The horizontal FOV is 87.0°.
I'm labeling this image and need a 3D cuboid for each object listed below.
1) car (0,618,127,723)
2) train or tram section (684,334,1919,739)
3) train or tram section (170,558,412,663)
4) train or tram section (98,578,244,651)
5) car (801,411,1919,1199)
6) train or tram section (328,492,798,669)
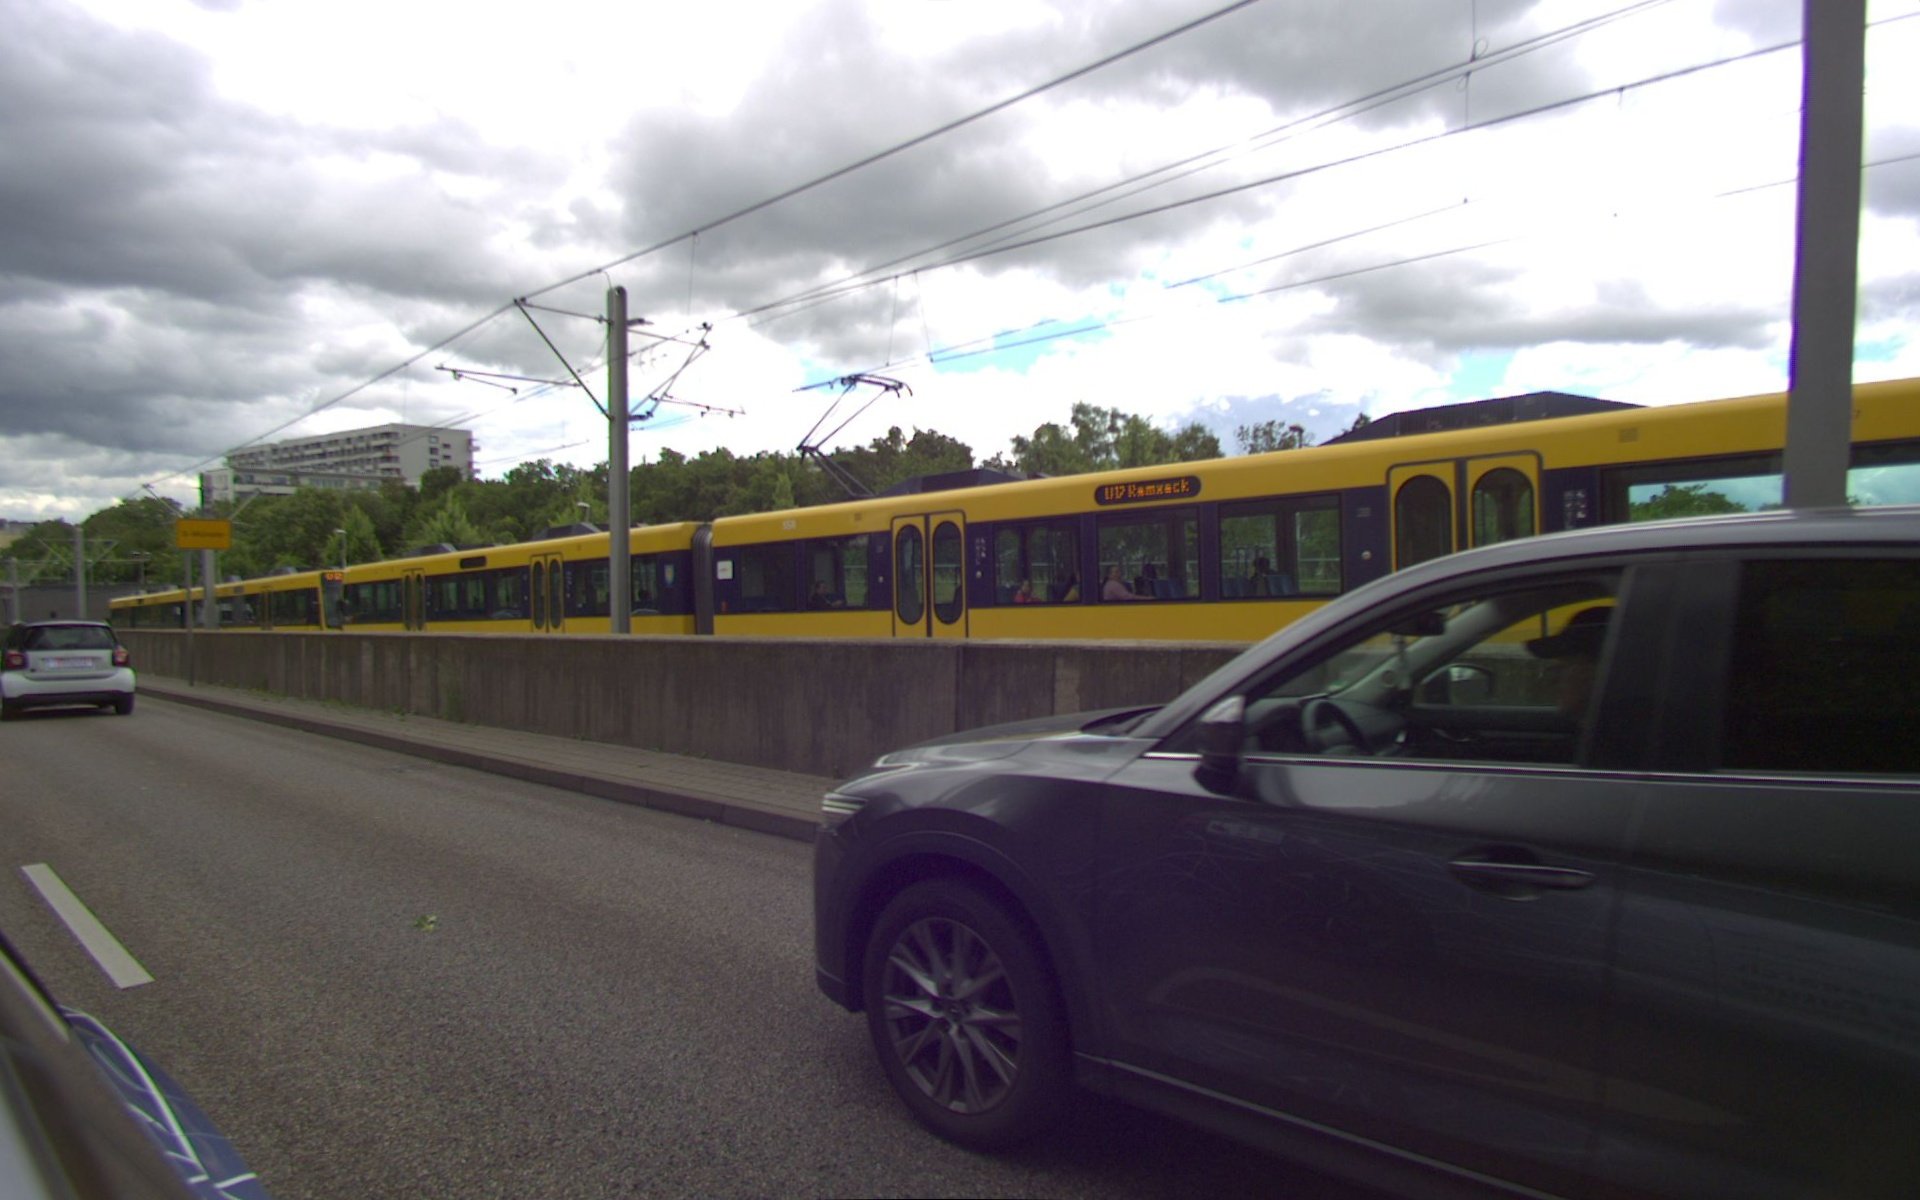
[{"bbox_3d":[-14.766,1.072,16.410,2.696,1.552,1.578,-1,-2,42],"label":"car"},{"bbox_3d":[3.108,-0.453,13.442,18.452,3.217,2.754,-1,0,39],"label":"train or tram section"},{"bbox_3d":[-26.436,0.473,38.984,19.907,3.239,2.706,-1,0,42],"label":"train or tram section"},{"bbox_3d":[-40.486,0.789,51.456,17.559,3.215,2.683,-1,0,42],"label":"train or tram section"},{"bbox_3d":[1.632,0.593,2.397,4.062,1.700,1.759,-2,-2,41],"label":"car"},{"bbox_3d":[-11.143,-0.282,25.421,18.464,3.217,2.752,-1,0,41],"label":"train or tram section"}]
